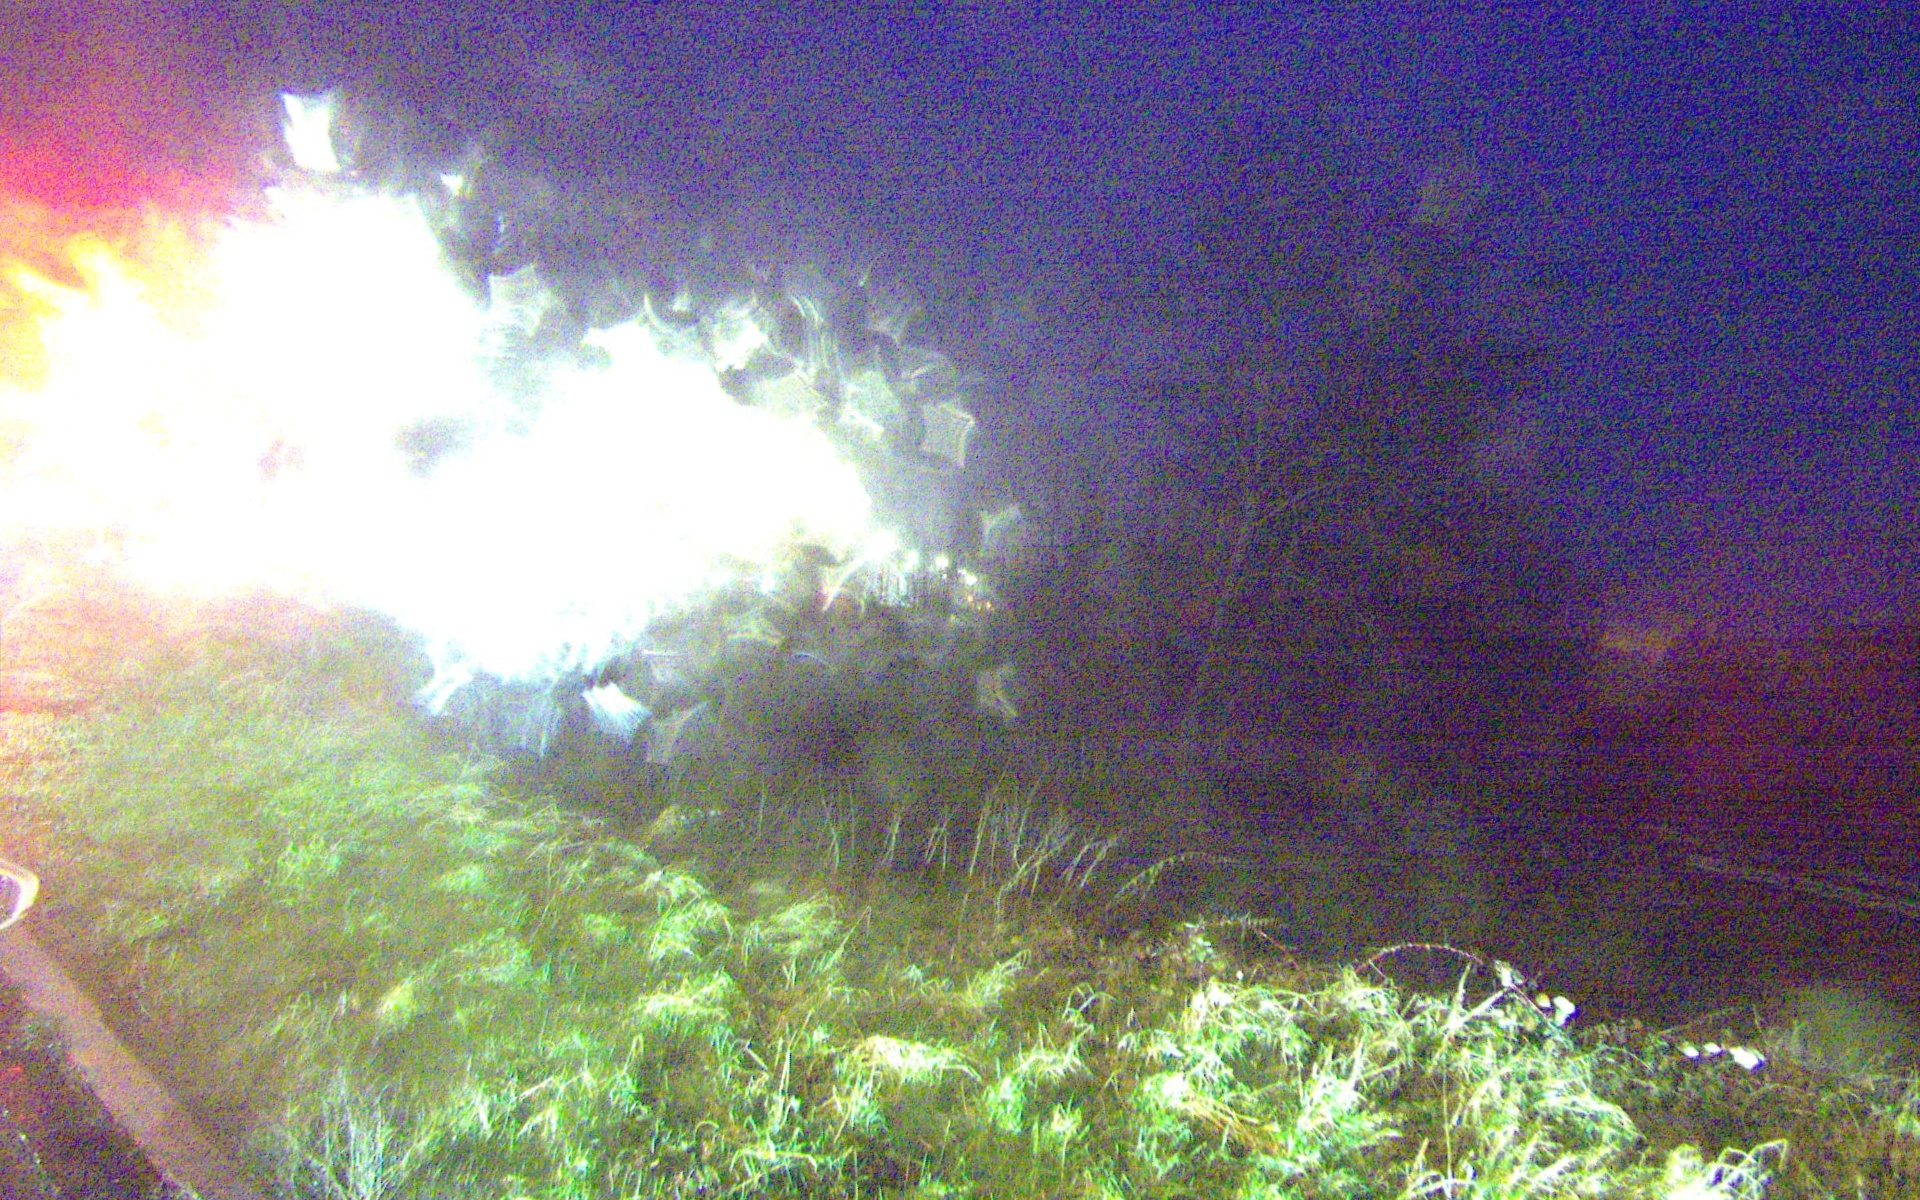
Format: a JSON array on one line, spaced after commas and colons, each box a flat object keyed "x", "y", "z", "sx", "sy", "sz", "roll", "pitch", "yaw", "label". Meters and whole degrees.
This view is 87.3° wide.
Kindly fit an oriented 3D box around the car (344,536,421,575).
[{"x": -34.040, "y": -2.592, "z": 59.436, "sx": 1.732, "sy": 1.734, "sz": 4.129, "roll": 7, "pitch": -2, "yaw": 5, "label": "car"}]

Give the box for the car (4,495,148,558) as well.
[{"x": -35.201, "y": -2.886, "z": 40.227, "sx": 1.732, "sy": 1.870, "sz": 4.129, "roll": 7, "pitch": -2, "yaw": 5, "label": "car"}]

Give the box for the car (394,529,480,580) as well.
[{"x": -35.728, "y": -3.039, "z": 68.917, "sx": 2.213, "sy": 2.741, "sz": 5.615, "roll": 7, "pitch": -2, "yaw": 6, "label": "car"}]

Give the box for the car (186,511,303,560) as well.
[{"x": -31.189, "y": -2.781, "z": 44.024, "sx": 1.685, "sy": 1.504, "sz": 4.062, "roll": 7, "pitch": -2, "yaw": 9, "label": "car"}]

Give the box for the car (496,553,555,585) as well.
[{"x": -29.307, "y": -2.063, "z": 67.965, "sx": 1.770, "sy": 1.685, "sz": 3.981, "roll": 7, "pitch": -2, "yaw": 5, "label": "car"}]
